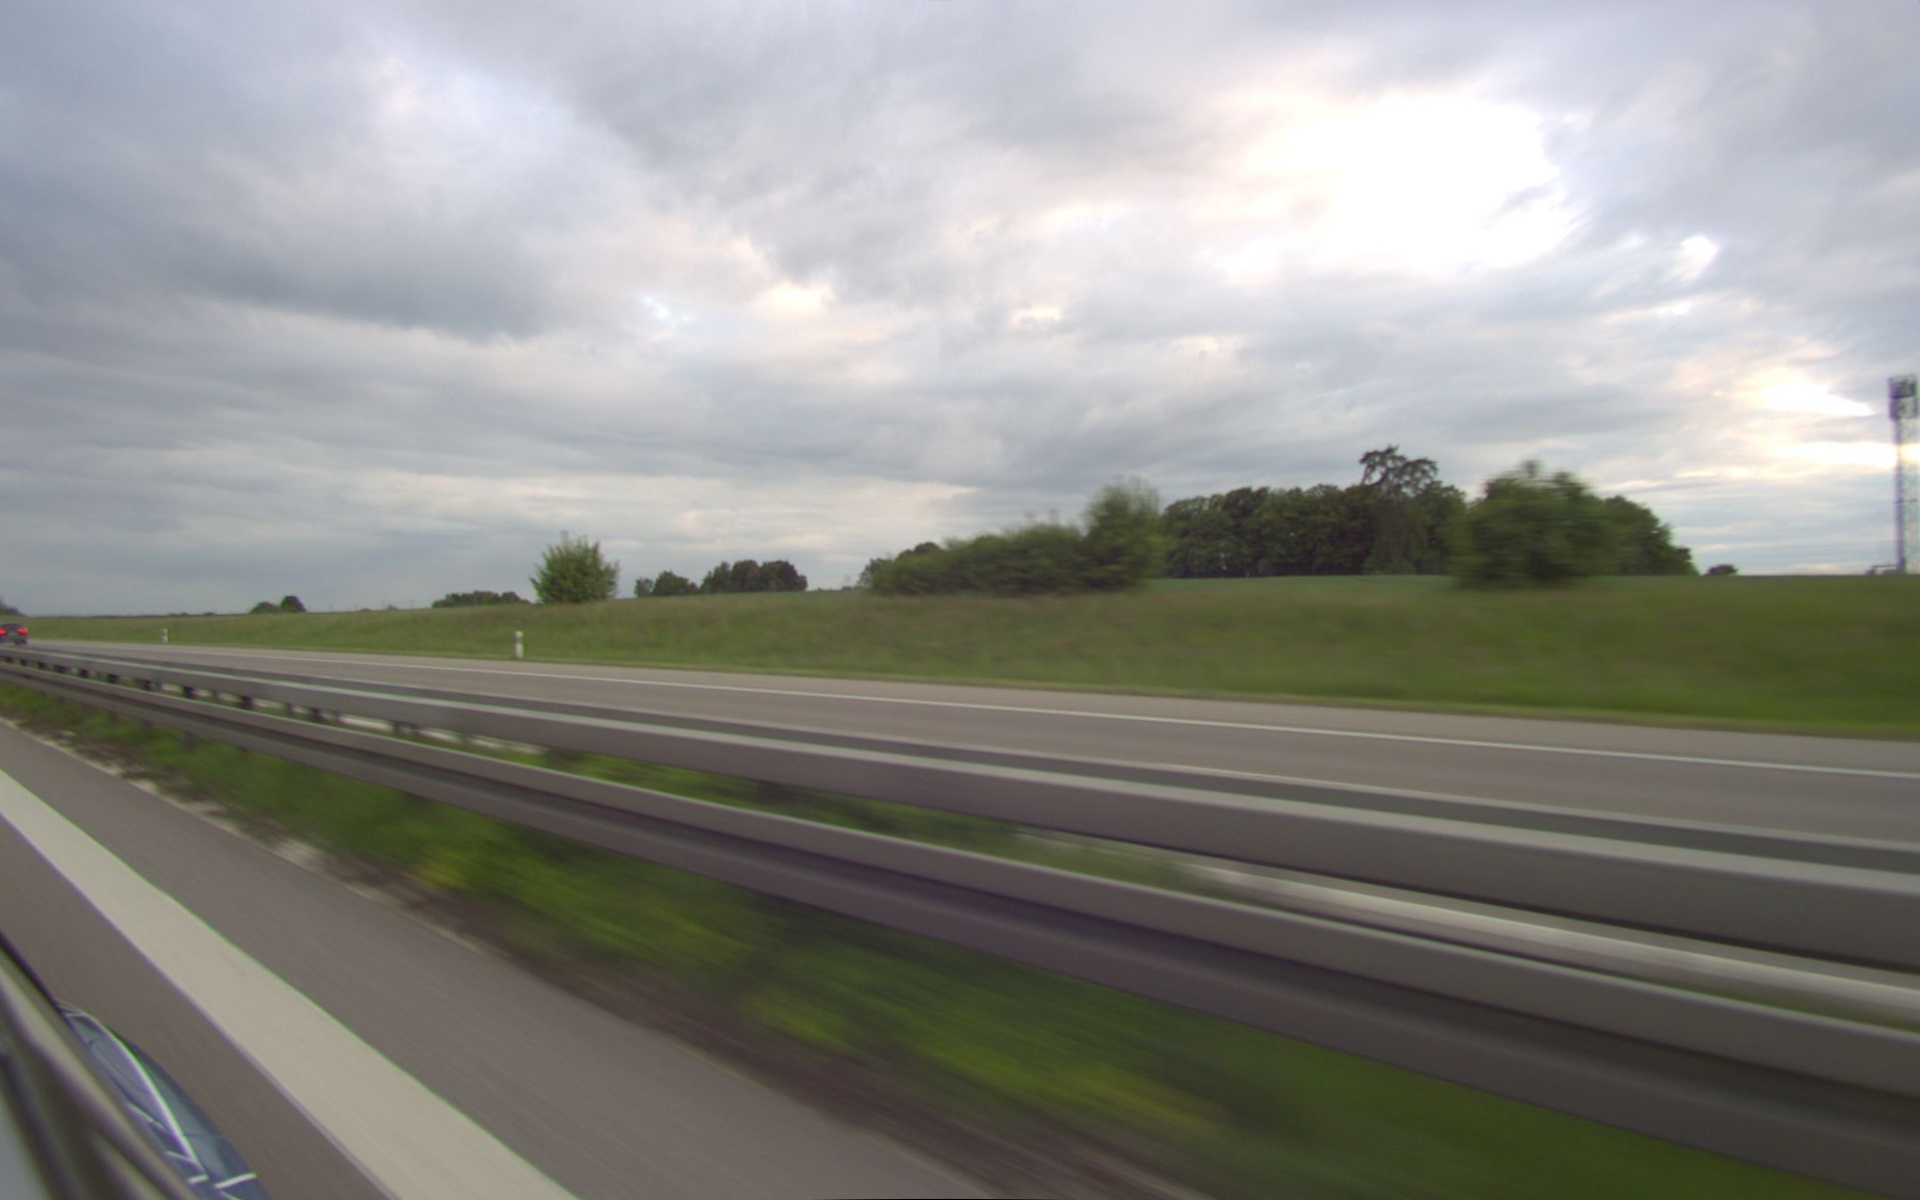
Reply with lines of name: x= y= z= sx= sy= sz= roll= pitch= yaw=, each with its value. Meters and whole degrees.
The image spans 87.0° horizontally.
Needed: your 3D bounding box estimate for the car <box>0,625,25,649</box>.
car: x=-71.179 y=2.739 z=75.285 sx=4.458 sy=1.676 sz=1.681 roll=-1 pitch=0 yaw=39
